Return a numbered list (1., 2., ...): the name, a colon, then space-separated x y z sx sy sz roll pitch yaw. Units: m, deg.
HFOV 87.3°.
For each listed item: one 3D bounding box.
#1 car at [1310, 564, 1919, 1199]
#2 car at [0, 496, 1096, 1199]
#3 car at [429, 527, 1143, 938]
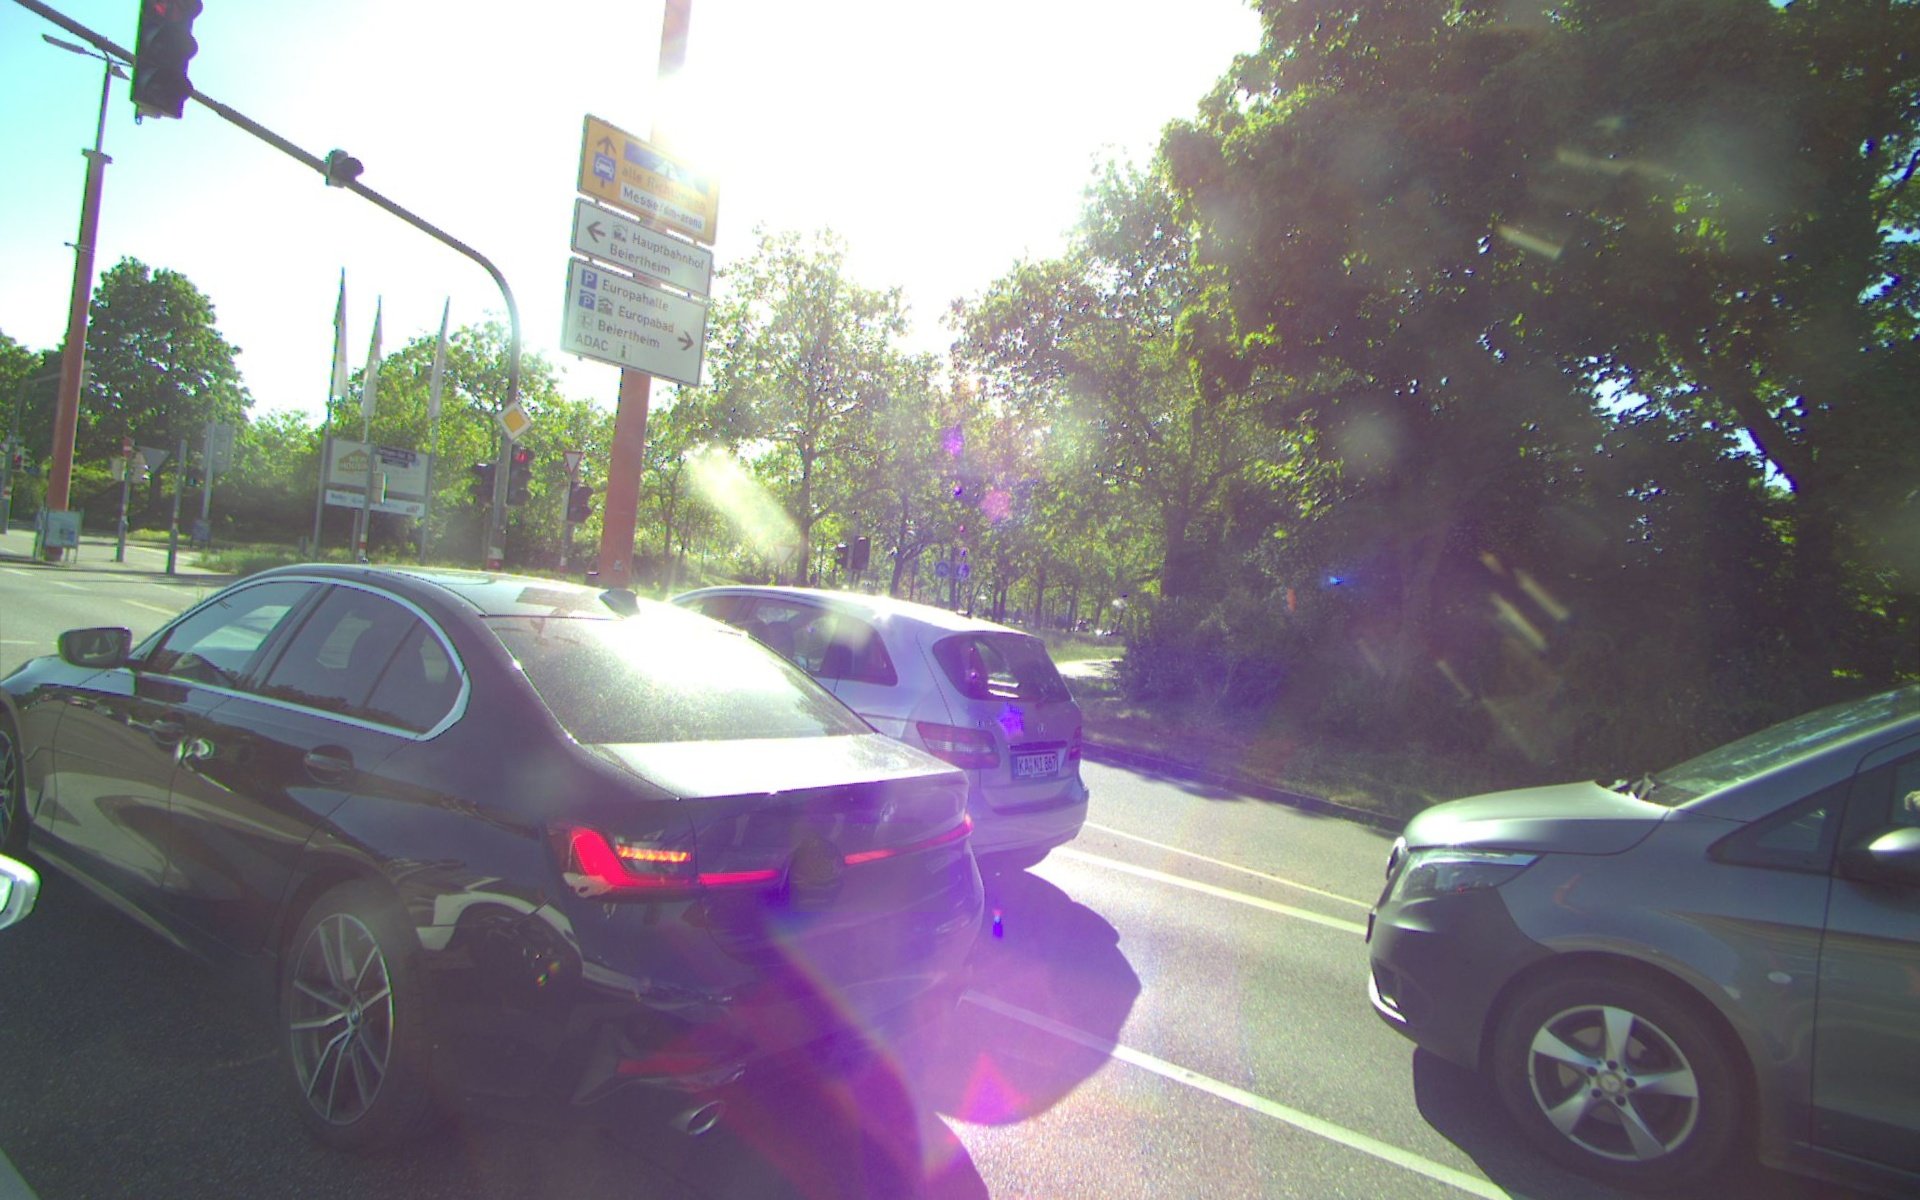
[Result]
1. car: 4.036 1.143 3.170 5.063 1.916 1.996 7 0 32
2. car: -1.966 0.527 3.885 4.403 1.411 1.996 7 0 32
3. car: -1.288 0.638 6.793 4.403 1.706 1.970 7 -1 32
